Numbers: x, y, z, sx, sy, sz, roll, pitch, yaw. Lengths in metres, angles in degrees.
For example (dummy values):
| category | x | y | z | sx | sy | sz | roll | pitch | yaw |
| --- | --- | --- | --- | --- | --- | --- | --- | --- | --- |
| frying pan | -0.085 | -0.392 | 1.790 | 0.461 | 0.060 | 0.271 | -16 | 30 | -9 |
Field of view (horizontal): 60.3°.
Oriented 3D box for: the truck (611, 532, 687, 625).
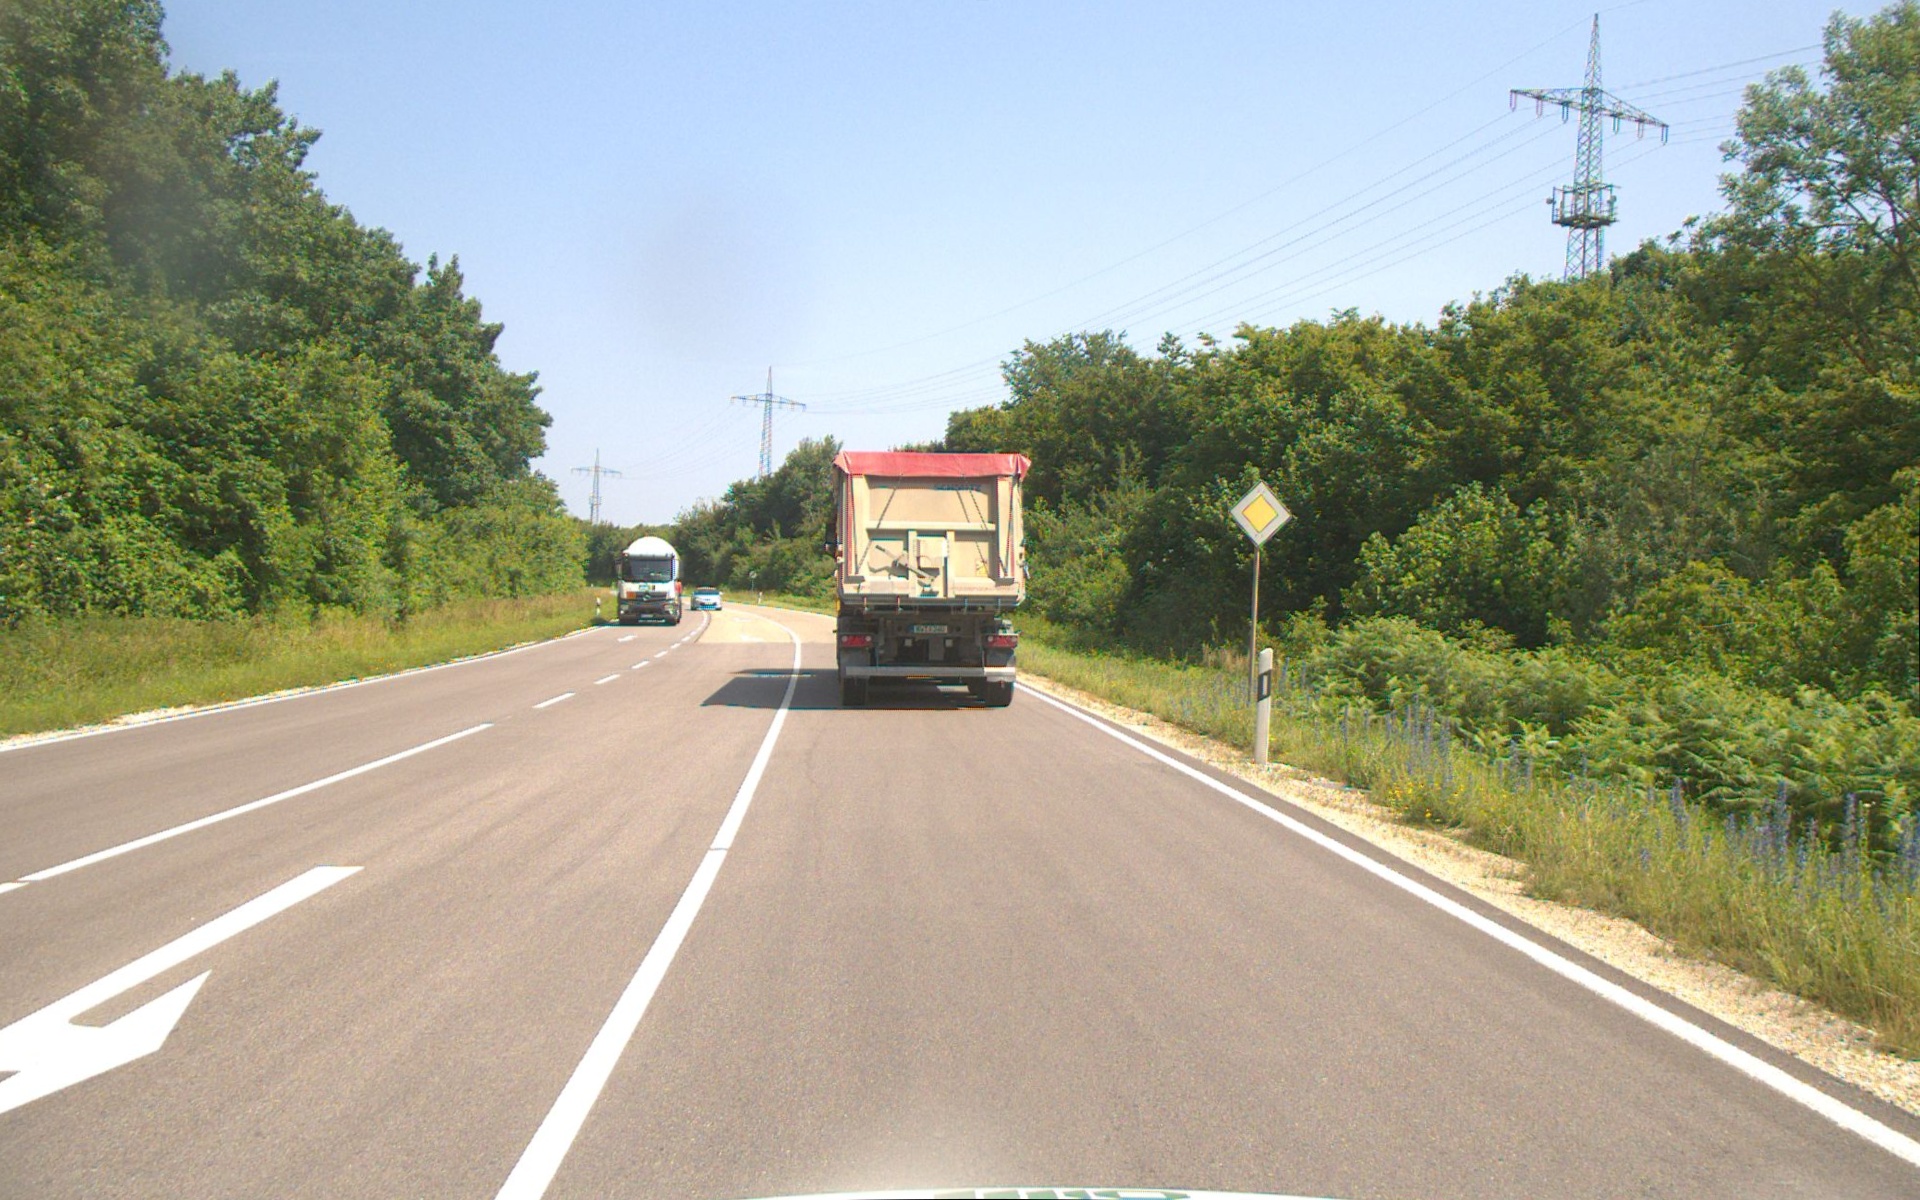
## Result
| category | x | y | z | sx | sy | sz | roll | pitch | yaw |
| --- | --- | --- | --- | --- | --- | --- | --- | --- | --- |
| truck | -13.308 | -0.884 | 71.283 | 2.577 | 3.735 | 8.783 | 1 | 0 | -7 |

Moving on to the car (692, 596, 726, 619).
| category | x | y | z | sx | sy | sz | roll | pitch | yaw |
| --- | --- | --- | --- | --- | --- | --- | --- | --- | --- |
| car | -15.718 | 0.479 | 103.897 | 1.674 | 1.444 | 4.096 | 1 | -1 | -3 |

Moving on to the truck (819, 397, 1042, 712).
| category | x | y | z | sx | sy | sz | roll | pitch | yaw |
| --- | --- | --- | --- | --- | --- | --- | --- | --- | --- |
| truck | -0.744 | -0.643 | 27.325 | 2.836 | 4.031 | 11.924 | 1 | 1 | -4 |
